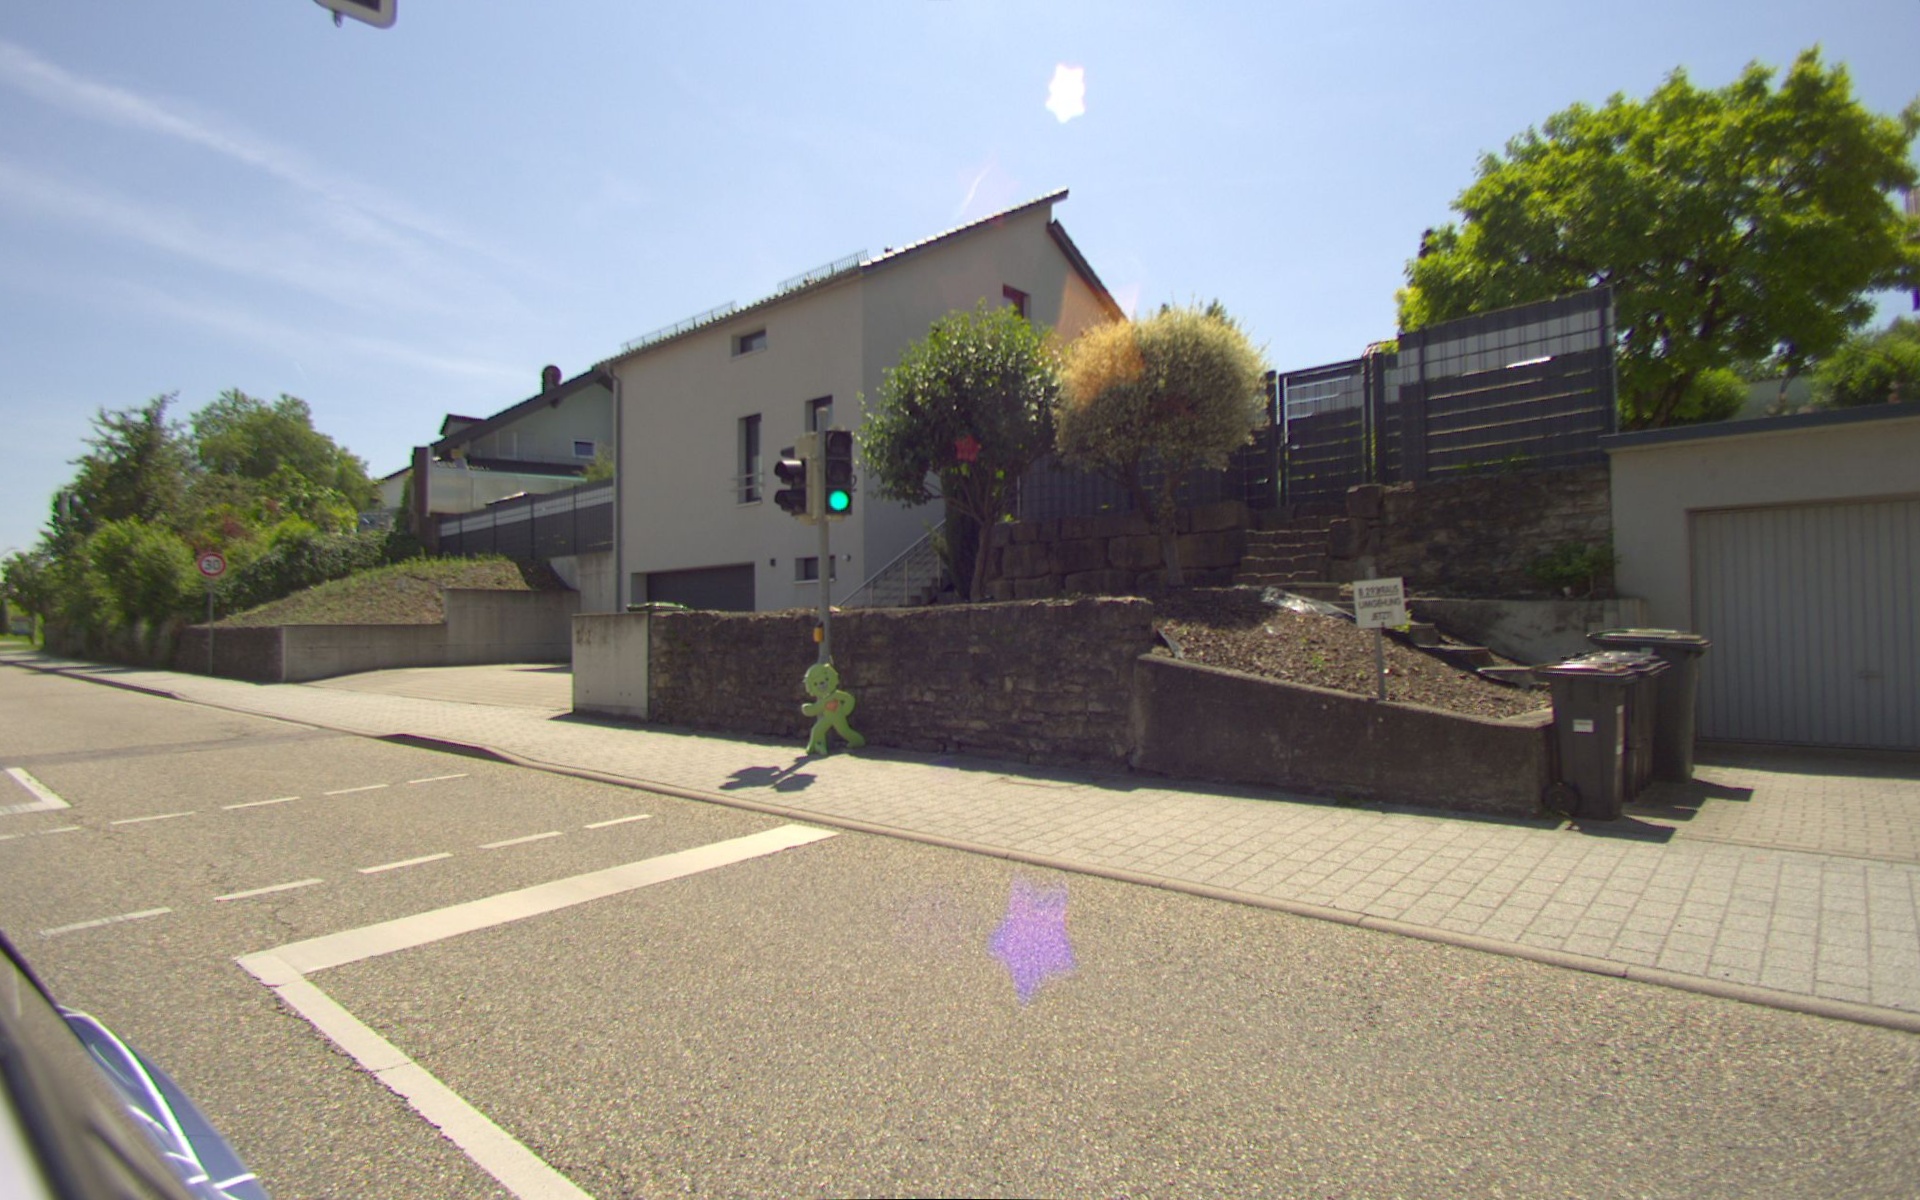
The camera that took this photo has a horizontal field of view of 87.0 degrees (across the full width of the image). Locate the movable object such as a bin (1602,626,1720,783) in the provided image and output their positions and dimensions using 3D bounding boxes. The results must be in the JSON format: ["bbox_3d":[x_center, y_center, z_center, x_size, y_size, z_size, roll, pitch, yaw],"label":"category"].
[{"bbox_3d":[5.085,0.732,7.341,0.634,1.063,0.466,-2,-1,41],"label":"movable object such as a bin"}]

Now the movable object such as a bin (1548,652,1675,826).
[{"bbox_3d":[3.906,0.801,6.066,0.553,0.955,0.495,-2,-1,41],"label":"movable object such as a bin"}]

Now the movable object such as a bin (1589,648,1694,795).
[{"bbox_3d":[4.698,0.810,6.975,0.531,0.945,0.442,-2,-2,41],"label":"movable object such as a bin"}]

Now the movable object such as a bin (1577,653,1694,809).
[{"bbox_3d":[4.386,0.823,6.572,0.561,0.935,0.442,-2,-1,41],"label":"movable object such as a bin"}]
